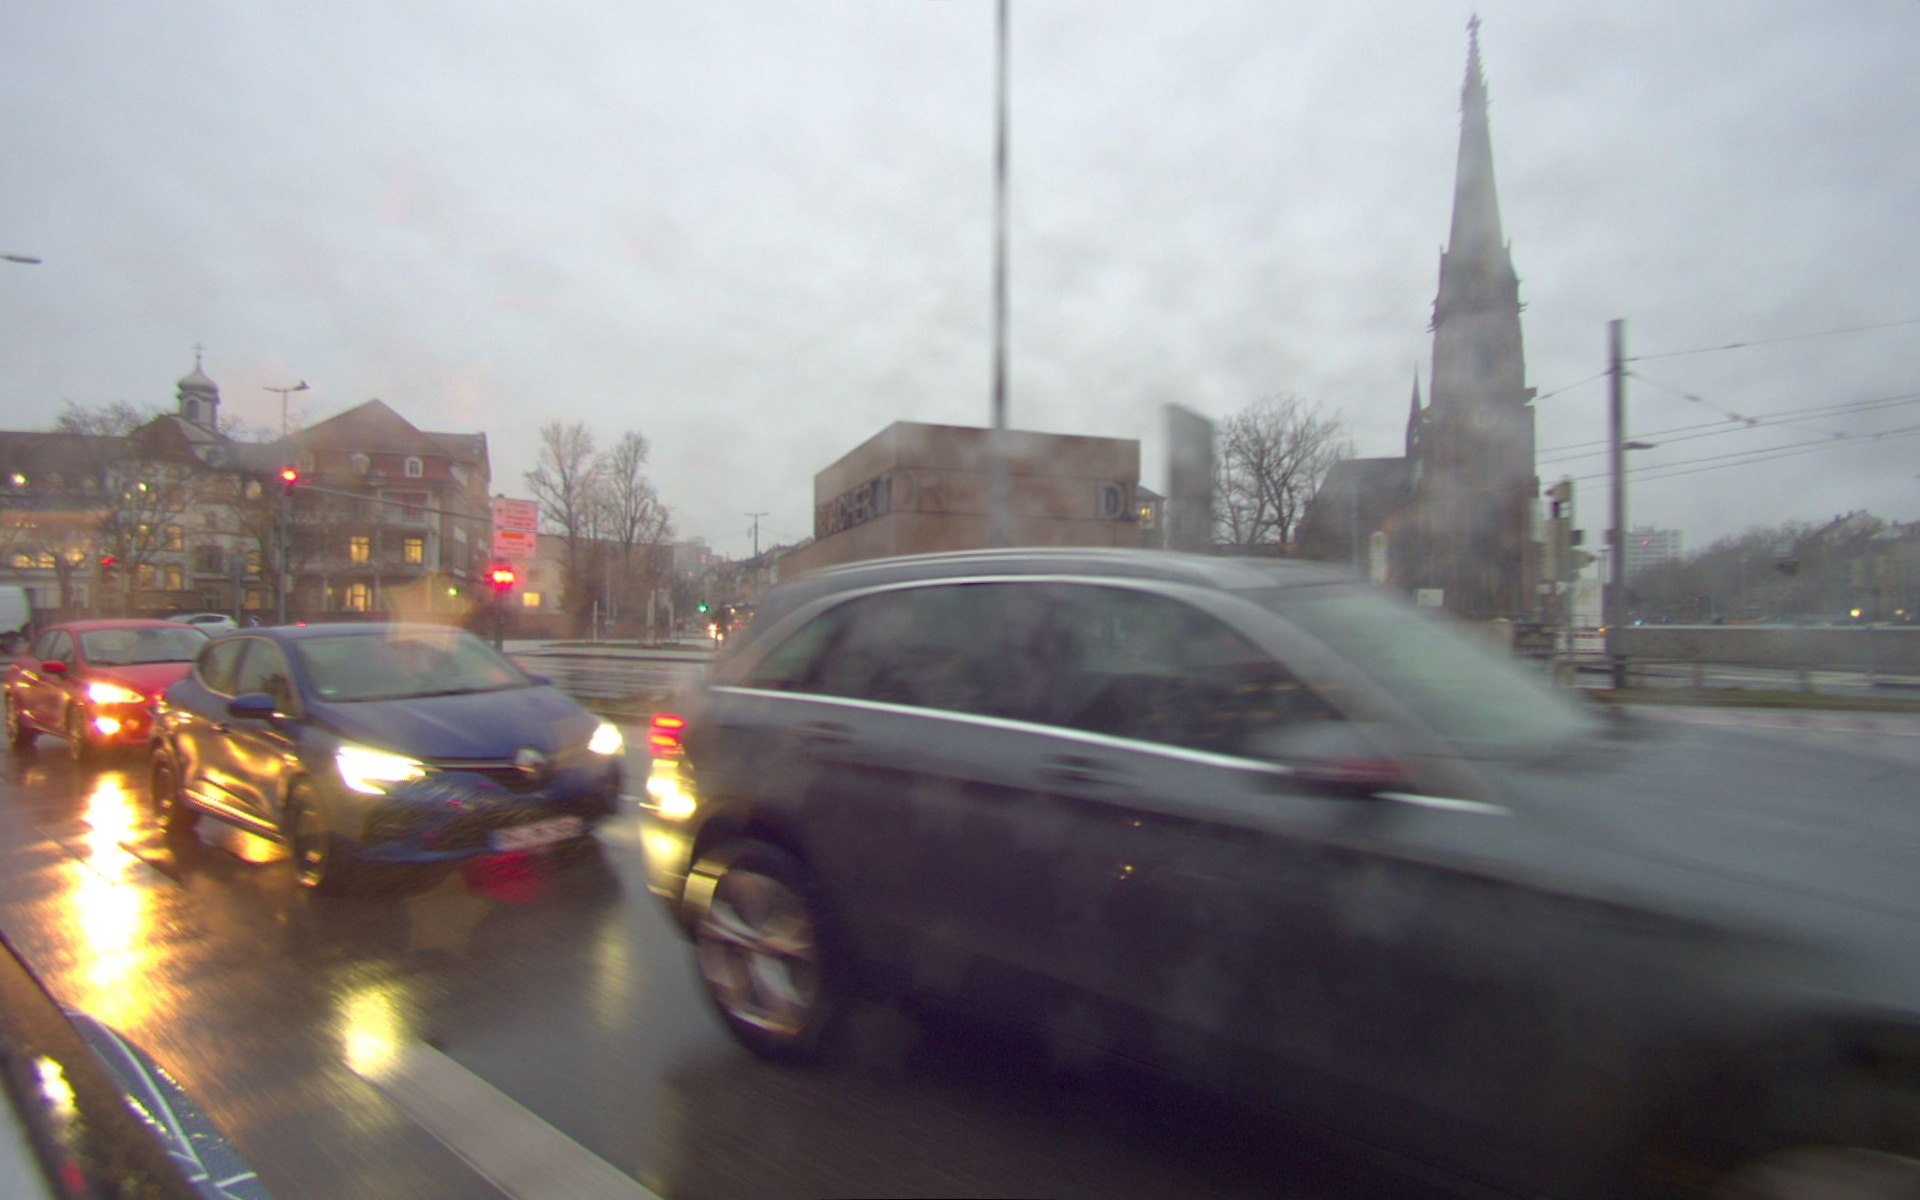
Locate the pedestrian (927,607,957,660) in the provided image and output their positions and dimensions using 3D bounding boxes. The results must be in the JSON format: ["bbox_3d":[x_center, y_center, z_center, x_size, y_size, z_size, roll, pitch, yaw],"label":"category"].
[{"bbox_3d":[-0.612,1.149,34.664,0.828,1.781,0.657,-1,-2,23],"label":"pedestrian"}]

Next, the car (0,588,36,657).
[{"bbox_3d":[-36.903,0.795,36.245,2.315,2.537,5.867,-2,-2,-1],"label":"car"}]

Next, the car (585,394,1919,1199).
[{"bbox_3d":[0.893,0.507,3.041,4.538,1.613,1.767,-1,1,40],"label":"car"}]

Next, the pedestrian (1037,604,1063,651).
[{"bbox_3d":[3.371,1.023,37.932,0.741,1.739,0.735,-1,-3,31],"label":"pedestrian"}]

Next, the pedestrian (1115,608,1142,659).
[{"bbox_3d":[5.925,1.183,35.572,0.757,1.764,0.795,-1,-2,23],"label":"pedestrian"}]

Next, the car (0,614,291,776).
[{"bbox_3d":[-9.440,0.962,11.544,3.862,1.493,1.686,-1,1,35],"label":"car"}]

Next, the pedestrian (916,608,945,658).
[{"bbox_3d":[-1.046,1.185,35.936,0.731,1.739,0.745,2,-3,-42],"label":"pedestrian"}]

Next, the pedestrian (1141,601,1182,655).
[{"bbox_3d":[7.386,1.021,37.091,1.104,1.933,1.066,1,-2,-17],"label":"pedestrian"}]

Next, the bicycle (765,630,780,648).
[{"bbox_3d":[-11.976,2.496,64.513,0.636,1.113,2.758,-1,-3,-16],"label":"bicycle"}]

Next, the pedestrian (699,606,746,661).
[{"bbox_3d":[-8.315,1.169,35.439,1.033,1.872,1.220,-4,-3,35],"label":"pedestrian"}]

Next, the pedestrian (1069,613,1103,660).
[{"bbox_3d":[4.447,1.285,35.773,0.841,1.615,0.968,1,-2,-21],"label":"pedestrian"}]

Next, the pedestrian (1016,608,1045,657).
[{"bbox_3d":[2.577,1.193,36.974,0.731,1.739,0.745,2,-3,-42],"label":"pedestrian"}]

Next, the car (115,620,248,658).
[{"bbox_3d":[-36.181,1.811,47.209,1.822,1.656,4.792,0,-2,15],"label":"car"}]

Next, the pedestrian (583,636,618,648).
[{"bbox_3d":[-34.388,4.014,96.750,3.047,0.937,0.951,-1,-3,-15],"label":"pedestrian"}]

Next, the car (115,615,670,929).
[{"bbox_3d":[-3.864,0.838,6.607,4.113,1.414,1.644,-1,0,37],"label":"car"}]
